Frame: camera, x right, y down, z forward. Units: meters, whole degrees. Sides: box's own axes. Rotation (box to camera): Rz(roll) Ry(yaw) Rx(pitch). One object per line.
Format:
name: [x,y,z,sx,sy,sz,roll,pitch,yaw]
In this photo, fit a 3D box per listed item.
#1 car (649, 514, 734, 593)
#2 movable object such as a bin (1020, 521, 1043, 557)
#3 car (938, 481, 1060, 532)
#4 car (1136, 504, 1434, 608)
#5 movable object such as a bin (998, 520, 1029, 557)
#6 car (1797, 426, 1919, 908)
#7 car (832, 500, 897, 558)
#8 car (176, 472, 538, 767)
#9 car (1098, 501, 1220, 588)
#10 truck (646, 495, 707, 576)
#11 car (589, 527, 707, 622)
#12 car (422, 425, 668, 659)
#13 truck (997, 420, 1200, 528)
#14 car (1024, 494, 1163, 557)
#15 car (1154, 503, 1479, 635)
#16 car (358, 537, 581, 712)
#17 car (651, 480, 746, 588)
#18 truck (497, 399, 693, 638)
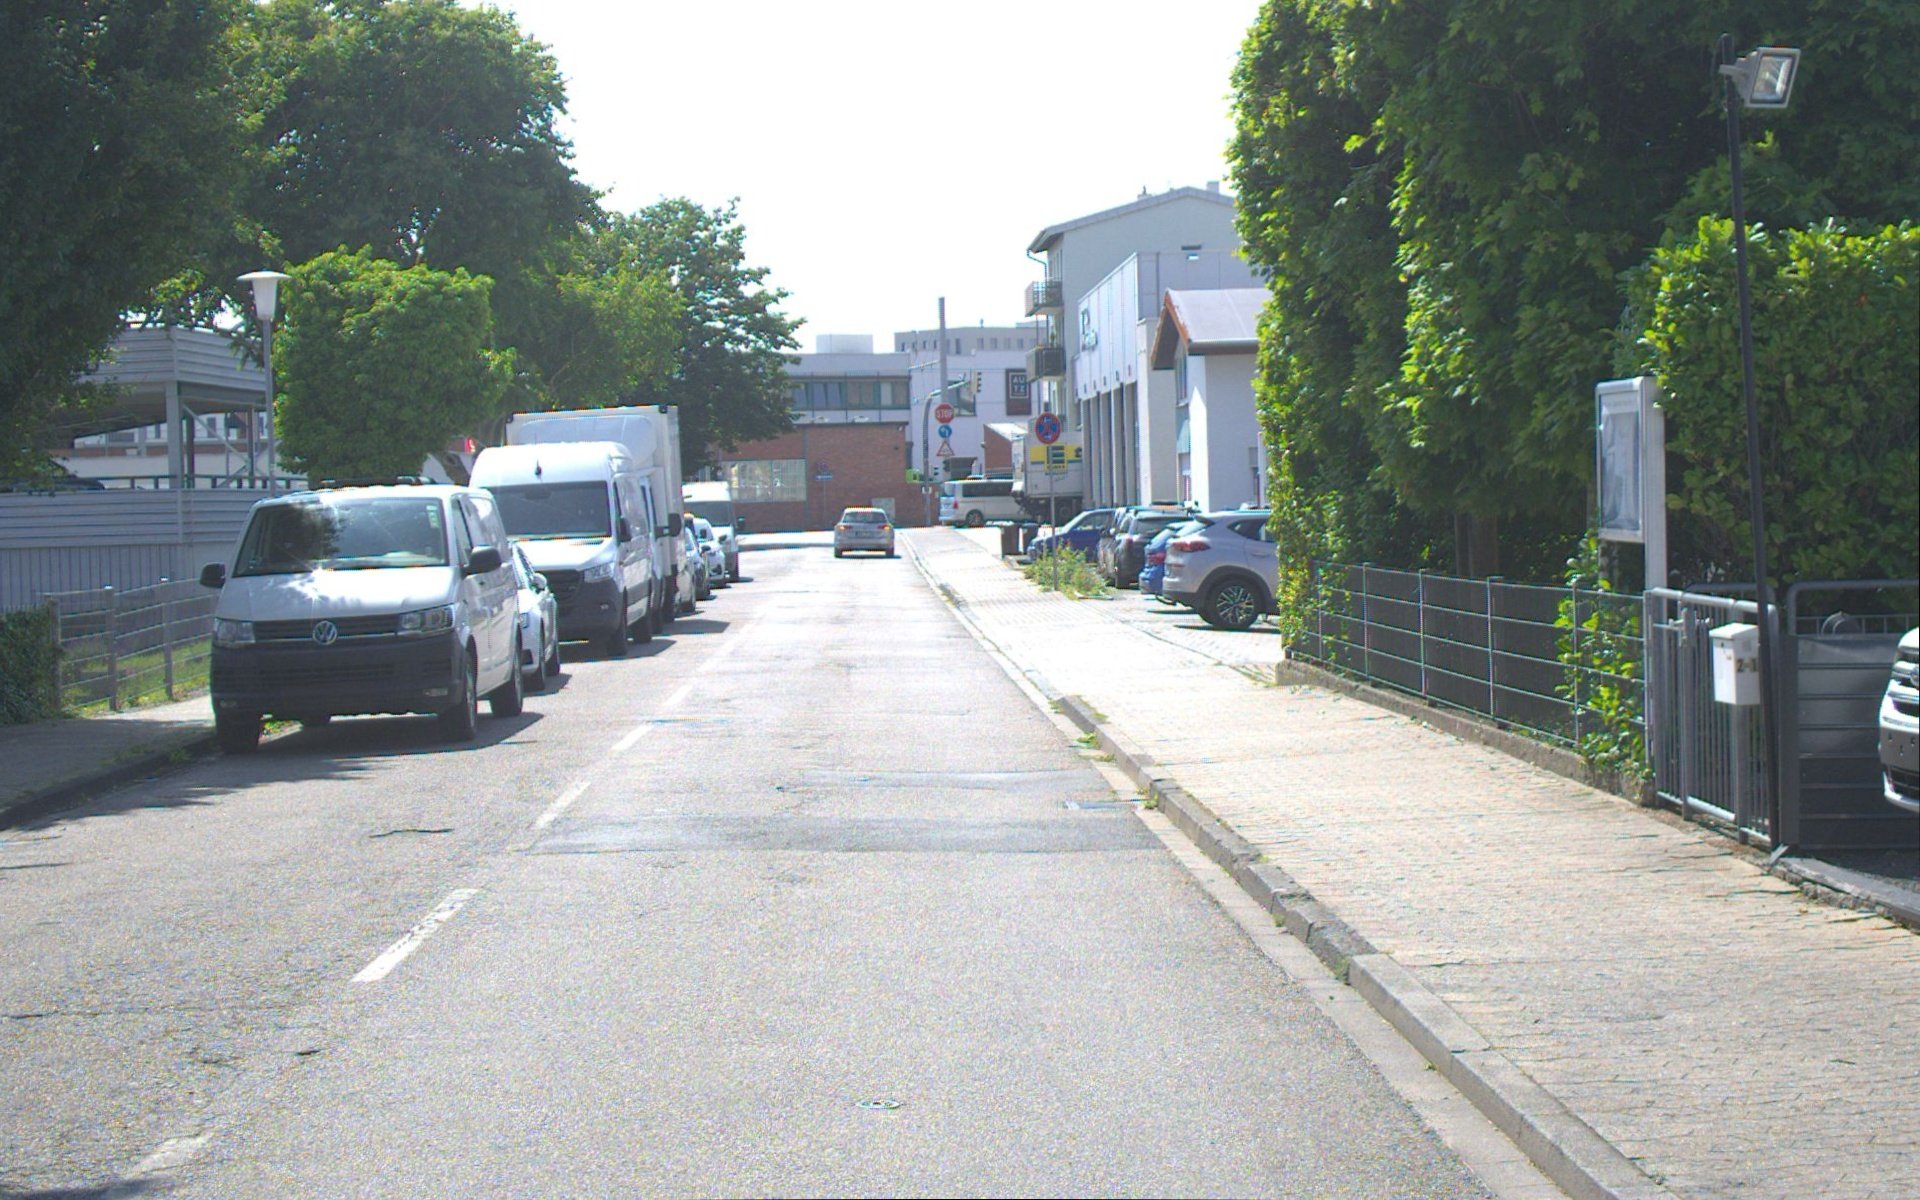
car: [-6.025,-1.062,76.911,1.704,1.618,3.974,-3,2,-6]
movable object such as a bin: [1.909,-1.635,91.984,0.514,0.943,0.487,-2,2,10]
car: [1.626,-3.901,143.552,4.653,1.951,1.917,-2,2,-20]
car: [5.019,-0.699,53.473,4.352,1.436,1.892,-2,1,-2]
movable object such as a bin: [1.426,-1.634,91.563,0.568,0.943,0.556,-1,2,32]
car: [5.441,0.158,12.209,4.402,1.648,1.844,-2,1,-4]
car: [-2.894,-2.138,104.280,1.890,1.679,3.958,1,1,-2]
car: [-4.639,0.096,27.219,1.971,2.007,5.057,-3,1,-1]
car: [3.826,-1.111,66.849,1.858,1.562,4.952,-2,2,-2]
truck: [-6.035,-1.394,73.288,1.138,1.616,3.142,-4,2,-4]
car: [-5.404,-0.474,59.866,1.741,1.516,4.311,-2,2,-2]
car: [-5.088,-0.727,43.193,2.168,2.587,6.920,-3,1,0]
truck: [5.431,-4.964,135.182,7.357,3.632,2.768,-5,2,-7]
car: [3.242,-1.826,83.989,3.253,1.394,1.673,-2,2,-1]
car: [4.873,-0.435,47.347,4.200,1.676,1.767,1,1,-2]
car: [-4.835,0.197,34.395,1.714,1.538,4.401,-3,1,-3]
car: [-6.205,-1.613,82.073,2.005,2.358,5.230,-4,2,-3]
truck: [-5.557,-1.231,53.322,2.685,3.354,7.131,-2,1,-4]
